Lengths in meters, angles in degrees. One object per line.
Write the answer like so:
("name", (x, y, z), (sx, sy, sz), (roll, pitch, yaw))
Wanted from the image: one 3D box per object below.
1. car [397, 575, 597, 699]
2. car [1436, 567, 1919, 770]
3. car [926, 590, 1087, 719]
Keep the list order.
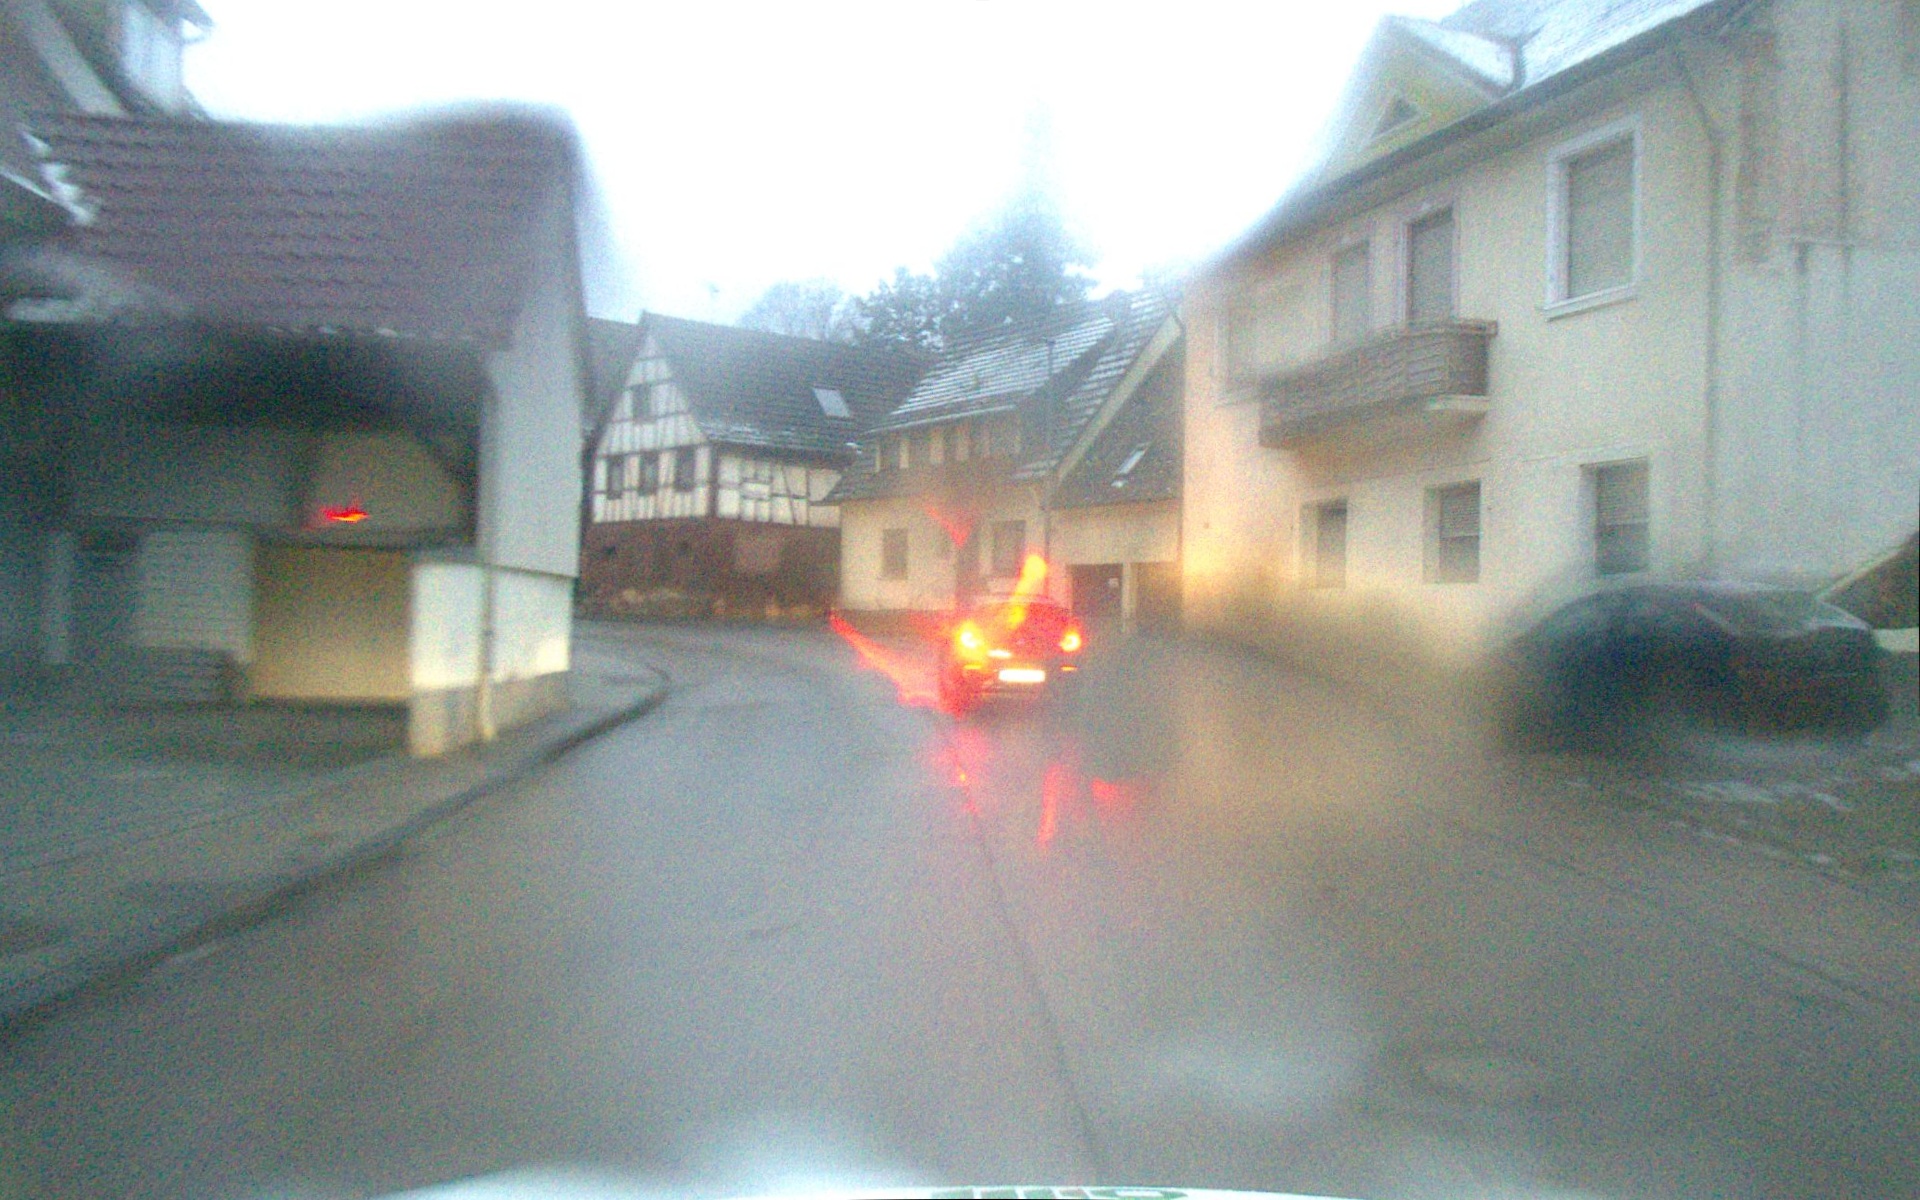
("car", (-6.111, 0.479, 22.245), (1.586, 1.446, 3.802), (3, -1, -1))
("car", (6.242, 0.539, 14.777), (1.778, 1.513, 4.257), (-1, -1, -17))
("car", (0.528, 0.653, 21.816), (1.517, 1.491, 3.693), (3, 0, -7))
